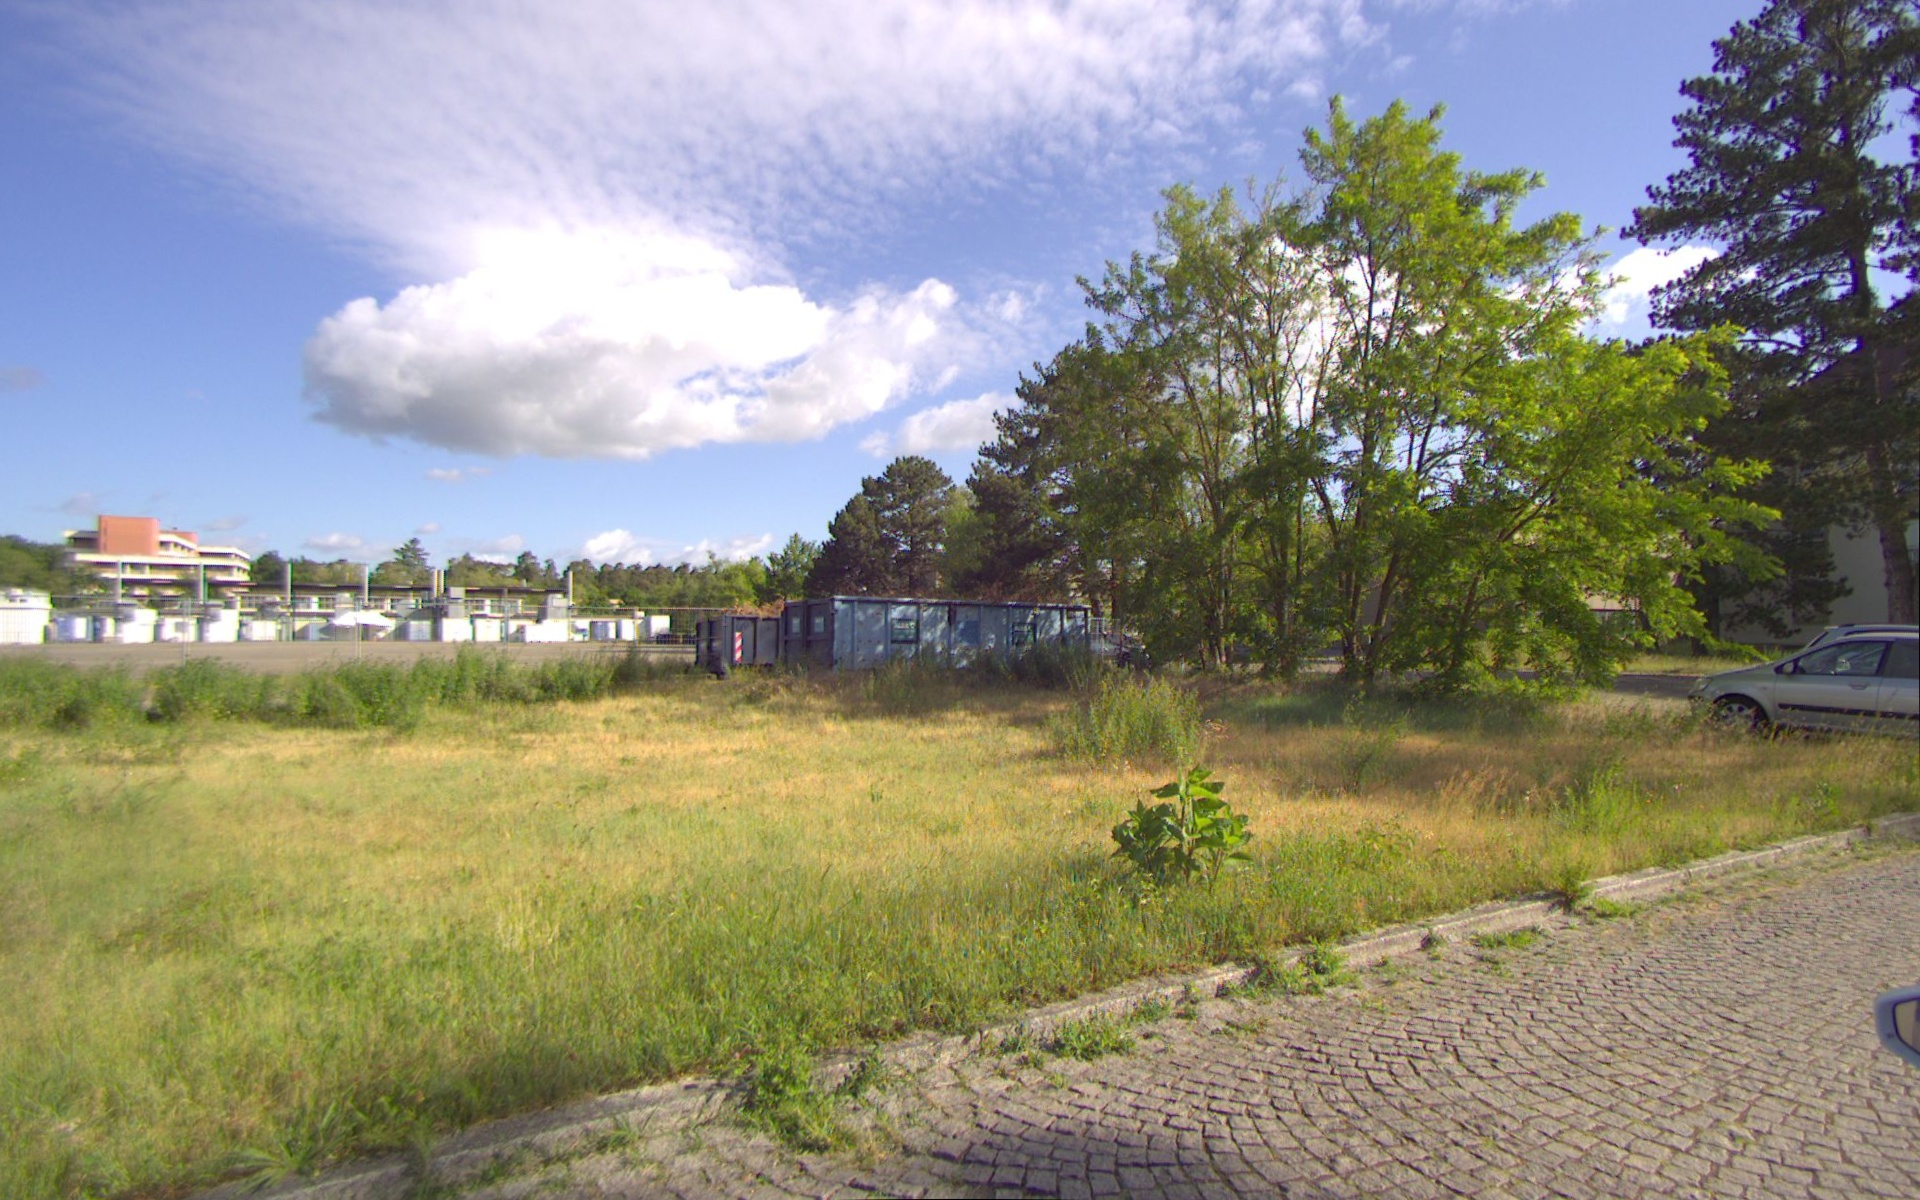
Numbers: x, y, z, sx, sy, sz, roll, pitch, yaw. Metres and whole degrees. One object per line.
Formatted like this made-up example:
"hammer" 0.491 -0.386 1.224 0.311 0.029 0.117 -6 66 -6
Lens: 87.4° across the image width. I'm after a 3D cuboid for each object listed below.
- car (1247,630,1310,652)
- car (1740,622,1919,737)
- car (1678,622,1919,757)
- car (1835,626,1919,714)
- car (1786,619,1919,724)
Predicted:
"car" 21.755 2.813 68.578 3.952 1.452 1.894 2 -2 -30
"car" 13.850 1.136 14.298 1.783 1.500 3.964 1 1 -32
"car" 11.683 1.101 12.848 1.628 1.507 3.725 1 1 -32
"car" 18.171 1.278 17.318 1.810 1.488 4.309 1 1 -32
"car" 16.159 1.173 16.167 1.865 1.614 4.057 1 1 -32
